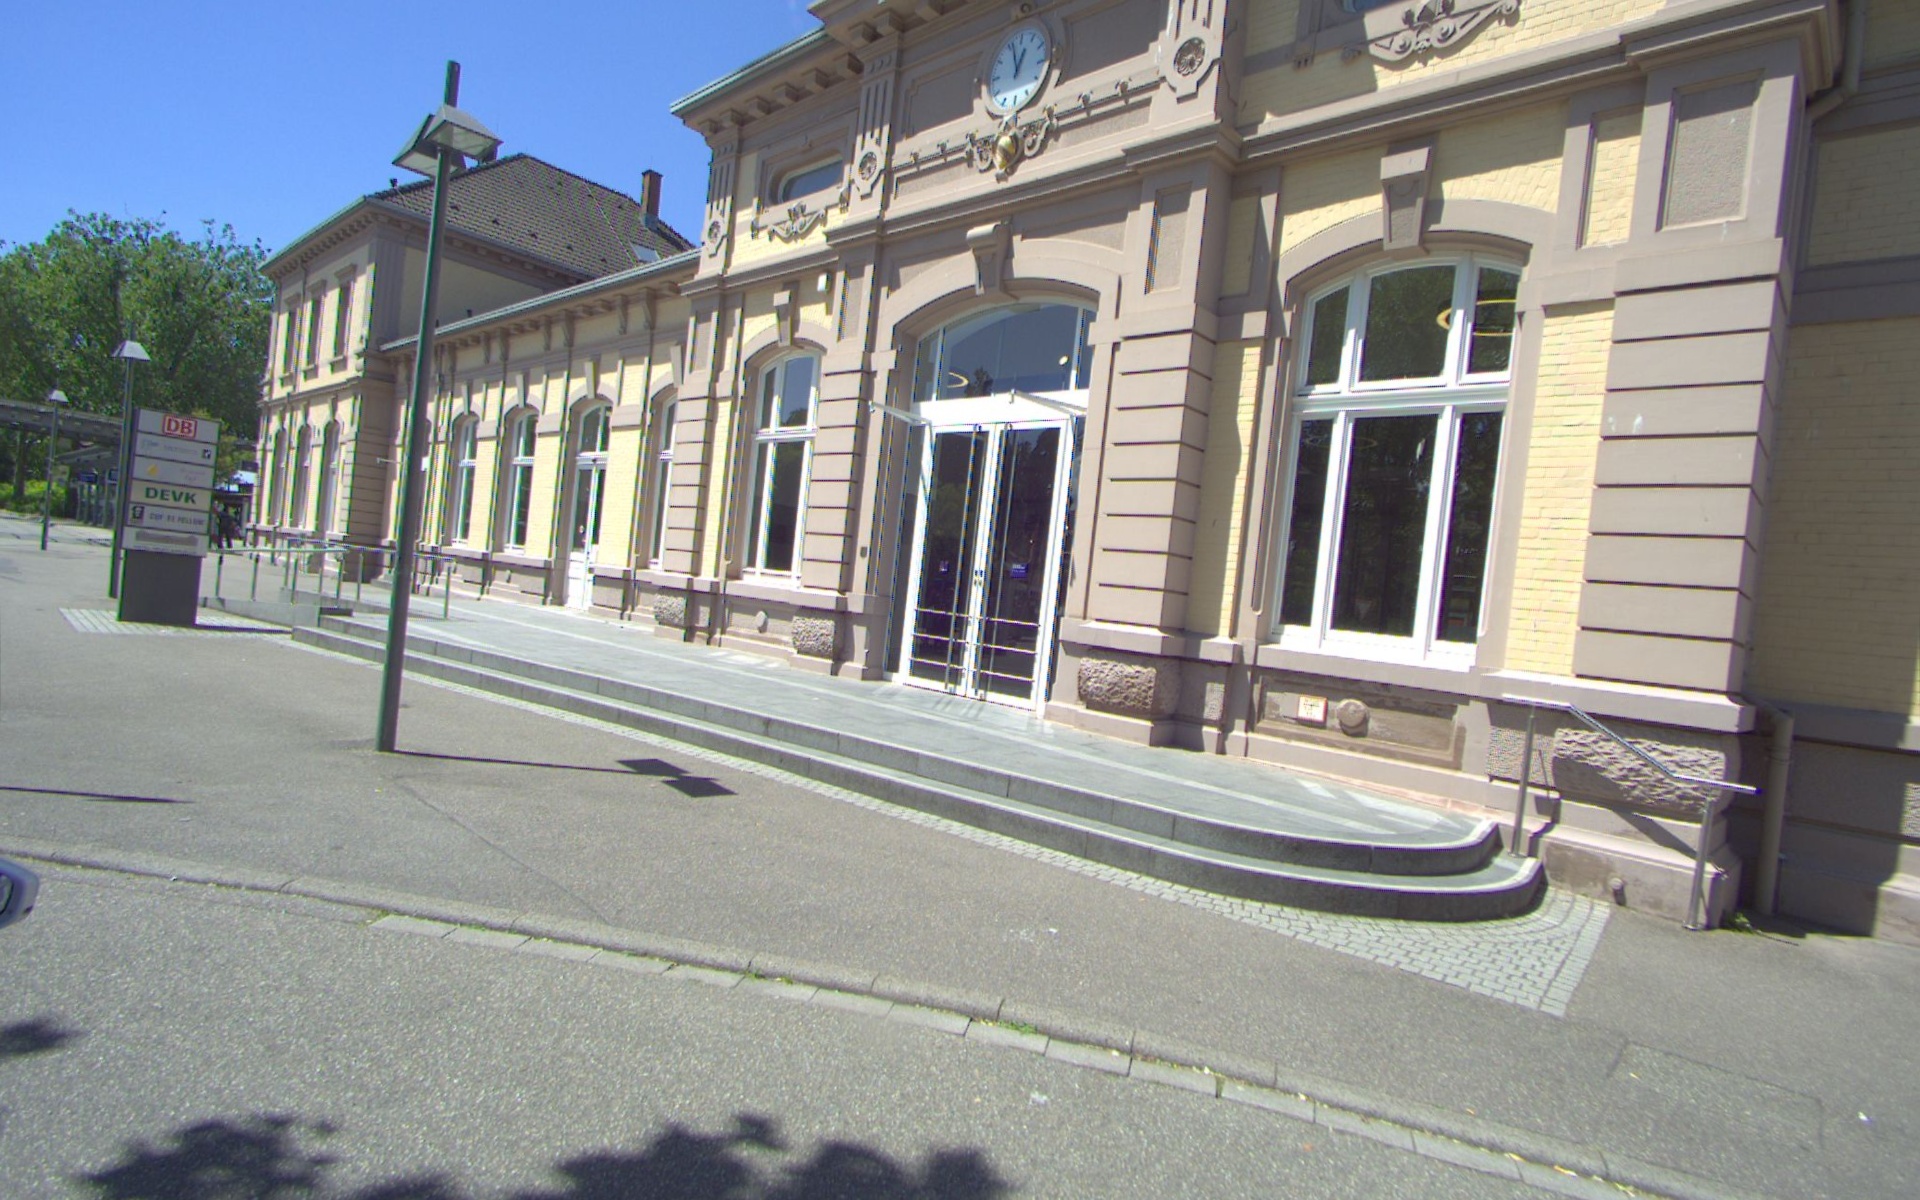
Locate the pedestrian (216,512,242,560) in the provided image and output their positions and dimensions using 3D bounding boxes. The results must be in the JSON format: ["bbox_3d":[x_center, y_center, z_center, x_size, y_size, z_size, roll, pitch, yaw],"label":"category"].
[{"bbox_3d":[-29.140,-2.541,40.105,0.623,1.832,0.592,6,1,-26],"label":"pedestrian"}]

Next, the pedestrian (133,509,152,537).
[{"bbox_3d":[-42.984,-4.060,52.903,0.667,1.413,0.623,6,2,43],"label":"pedestrian"}]

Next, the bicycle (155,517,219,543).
[{"bbox_3d":[-45.053,-4.061,58.696,0.800,1.015,2.784,6,-3,41],"label":"bicycle"}]
